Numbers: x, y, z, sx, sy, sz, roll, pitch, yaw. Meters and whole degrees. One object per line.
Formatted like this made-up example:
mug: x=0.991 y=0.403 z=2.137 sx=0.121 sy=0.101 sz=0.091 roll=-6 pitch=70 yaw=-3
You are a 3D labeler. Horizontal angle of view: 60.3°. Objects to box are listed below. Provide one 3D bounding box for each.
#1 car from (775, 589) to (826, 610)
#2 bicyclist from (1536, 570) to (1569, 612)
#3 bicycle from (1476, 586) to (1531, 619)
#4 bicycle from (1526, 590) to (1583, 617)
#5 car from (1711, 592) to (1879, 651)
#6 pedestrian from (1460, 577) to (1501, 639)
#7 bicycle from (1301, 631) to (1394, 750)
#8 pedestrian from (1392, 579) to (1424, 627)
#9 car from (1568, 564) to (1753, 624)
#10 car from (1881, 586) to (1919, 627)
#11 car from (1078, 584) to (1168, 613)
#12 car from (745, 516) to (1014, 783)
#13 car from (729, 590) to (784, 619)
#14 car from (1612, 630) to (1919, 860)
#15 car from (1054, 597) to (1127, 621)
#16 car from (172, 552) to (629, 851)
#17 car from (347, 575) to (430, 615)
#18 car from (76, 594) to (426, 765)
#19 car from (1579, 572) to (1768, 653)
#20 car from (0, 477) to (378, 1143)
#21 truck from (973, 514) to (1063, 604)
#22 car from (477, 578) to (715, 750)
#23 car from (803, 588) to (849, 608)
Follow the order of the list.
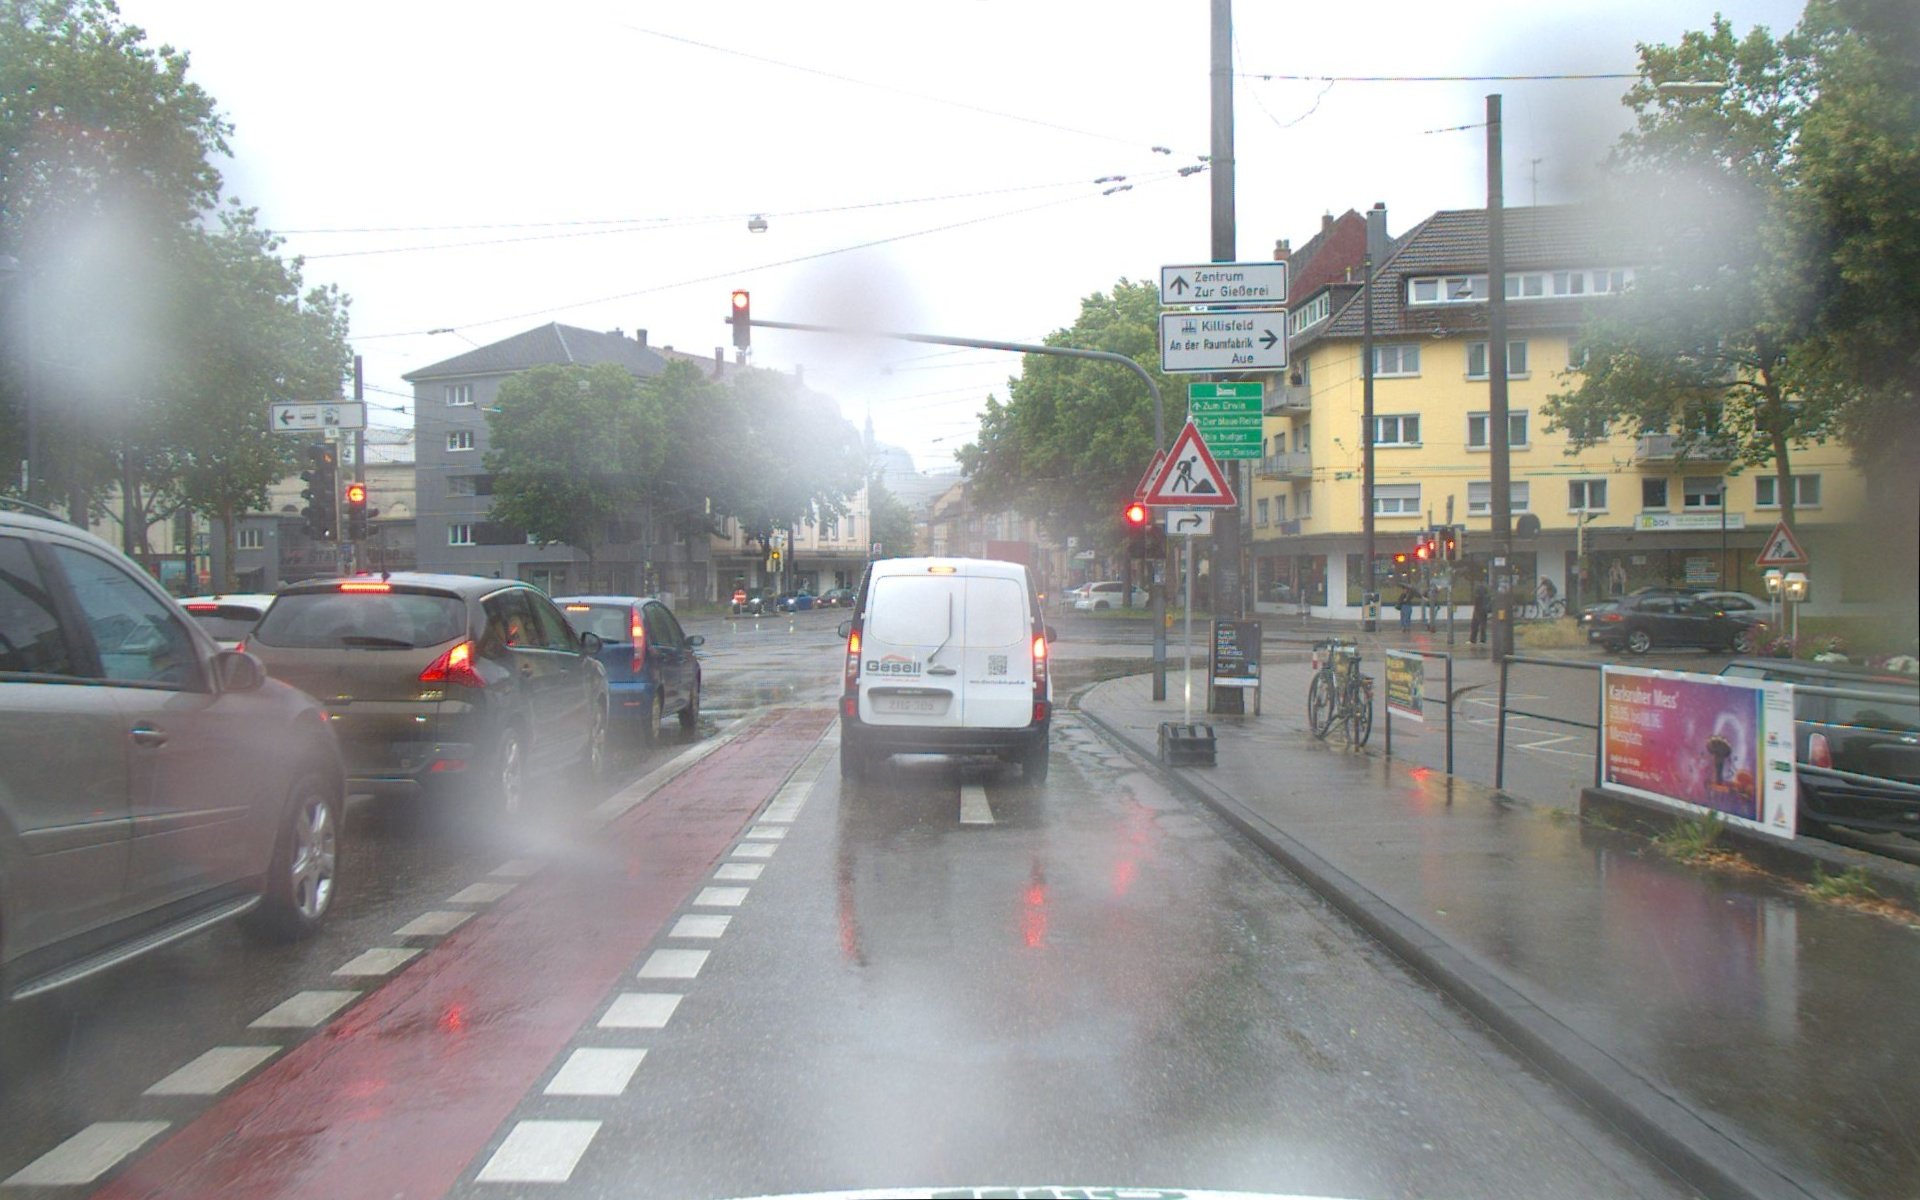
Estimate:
car: x=-10.208 y=-0.038 z=106.024 sx=1.909 sy=1.260 sz=4.003 roll=0 pitch=2 yaw=16
bicyclist: x=22.919 y=-0.343 z=64.016 sx=1.043 sy=1.574 sz=0.937 roll=1 pitch=0 yaw=11
bicycle: x=21.737 y=0.101 z=66.150 sx=2.056 sy=1.283 sz=0.532 roll=0 pitch=1 yaw=14
bicycle: x=23.001 y=0.131 z=64.008 sx=1.974 sy=1.045 sz=0.660 roll=1 pitch=0 yaw=12
car: x=23.073 y=0.579 z=45.823 sx=3.854 sy=1.516 sz=1.808 roll=1 pitch=1 yaw=16
pedestrian: x=14.557 y=0.211 z=46.257 sx=0.887 sy=1.698 sz=1.018 roll=1 pitch=0 yaw=29
bicycle: x=4.128 y=0.938 z=17.752 sx=0.503 sy=1.126 sz=2.017 roll=3 pitch=0 yaw=1
pedestrian: x=14.578 y=0.104 z=53.822 sx=0.808 sy=1.560 sz=0.614 roll=1 pitch=0 yaw=-39
car: x=20.950 y=-0.176 z=49.669 sx=4.832 sy=1.672 sz=2.001 roll=0 pitch=-2 yaw=12
car: x=27.436 y=0.196 z=45.509 sx=3.454 sy=1.101 sz=1.247 roll=1 pitch=0 yaw=2
car: x=7.852 y=-0.098 z=79.757 sx=4.088 sy=1.362 sz=1.518 roll=0 pitch=1 yaw=-8
car: x=-0.636 y=0.392 z=15.205 sx=2.057 sy=2.047 sz=4.962 roll=0 pitch=0 yaw=-1
car: x=-12.257 y=0.269 z=99.772 sx=1.909 sy=1.635 sz=4.003 roll=0 pitch=2 yaw=16
car: x=6.937 y=1.101 z=13.704 sx=1.670 sy=1.467 sz=3.526 roll=3 pitch=1 yaw=1
car: x=6.437 y=0.439 z=81.575 sx=3.377 sy=1.150 sz=1.469 roll=1 pitch=0 yaw=-8
car: x=-3.630 y=0.583 z=11.599 sx=1.797 sy=1.697 sz=4.172 roll=1 pitch=0 yaw=-1
car: x=-33.813 y=-0.322 z=97.917 sx=1.953 sy=2.236 sz=4.787 roll=2 pitch=2 yaw=23
car: x=-7.004 y=0.709 z=16.824 sx=1.806 sy=1.510 sz=4.000 roll=1 pitch=0 yaw=0
car: x=17.578 y=0.292 z=40.909 sx=3.902 sy=1.898 sz=2.002 roll=1 pitch=0 yaw=8
car: x=-3.619 y=0.582 z=5.321 sx=1.984 sy=1.801 sz=4.461 roll=-1 pitch=0 yaw=-2
truck: x=3.822 y=-2.387 z=103.504 sx=3.395 sy=5.176 sz=15.320 roll=1 pitch=0 yaw=10
car: x=-3.730 y=0.599 z=17.566 sx=1.692 sy=1.606 sz=3.820 roll=1 pitch=0 yaw=-1
car: x=-9.202 y=-0.119 z=113.980 sx=1.909 sy=1.260 sz=4.003 roll=0 pitch=2 yaw=16
